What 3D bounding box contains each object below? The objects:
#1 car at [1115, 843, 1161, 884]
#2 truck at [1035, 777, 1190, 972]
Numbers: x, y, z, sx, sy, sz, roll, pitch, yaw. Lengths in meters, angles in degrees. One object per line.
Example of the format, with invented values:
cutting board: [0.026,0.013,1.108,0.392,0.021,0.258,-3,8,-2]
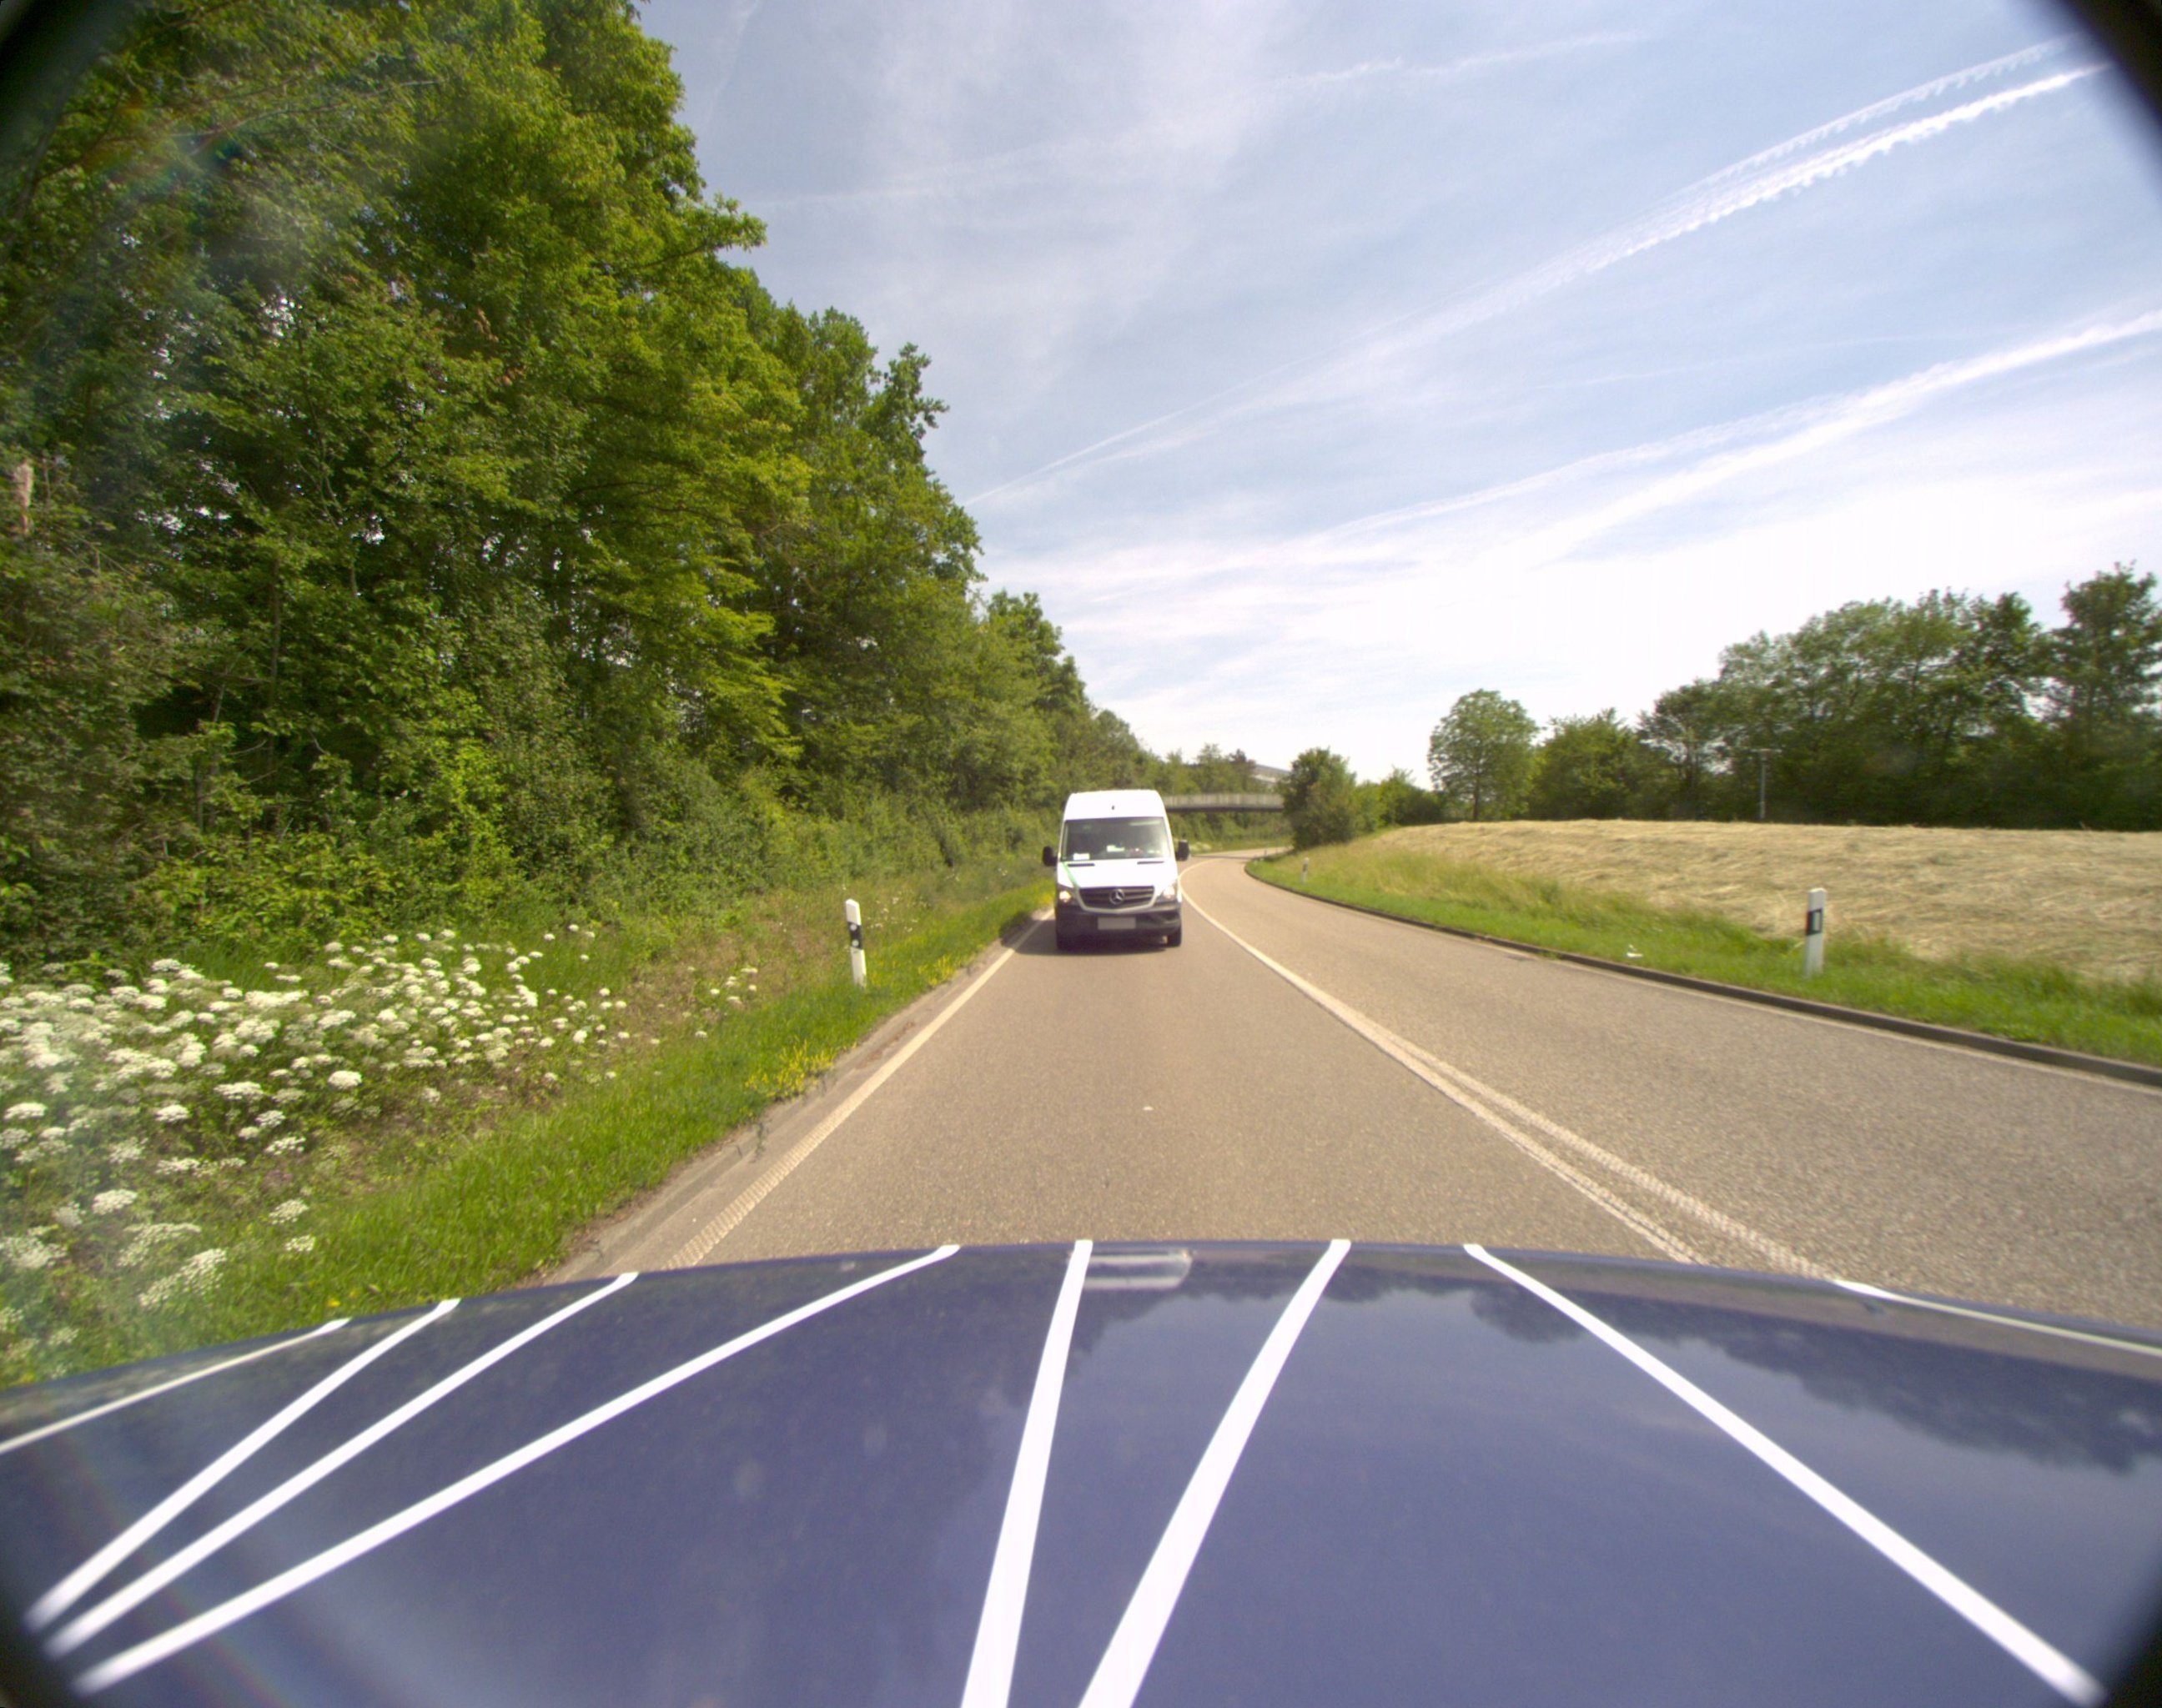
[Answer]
car: [2.546,0.358,33.236,1.848,1.698,4.090,0,1,6]
truck: [0.547,0.219,13.188,1.998,2.571,5.887,-2,1,2]
